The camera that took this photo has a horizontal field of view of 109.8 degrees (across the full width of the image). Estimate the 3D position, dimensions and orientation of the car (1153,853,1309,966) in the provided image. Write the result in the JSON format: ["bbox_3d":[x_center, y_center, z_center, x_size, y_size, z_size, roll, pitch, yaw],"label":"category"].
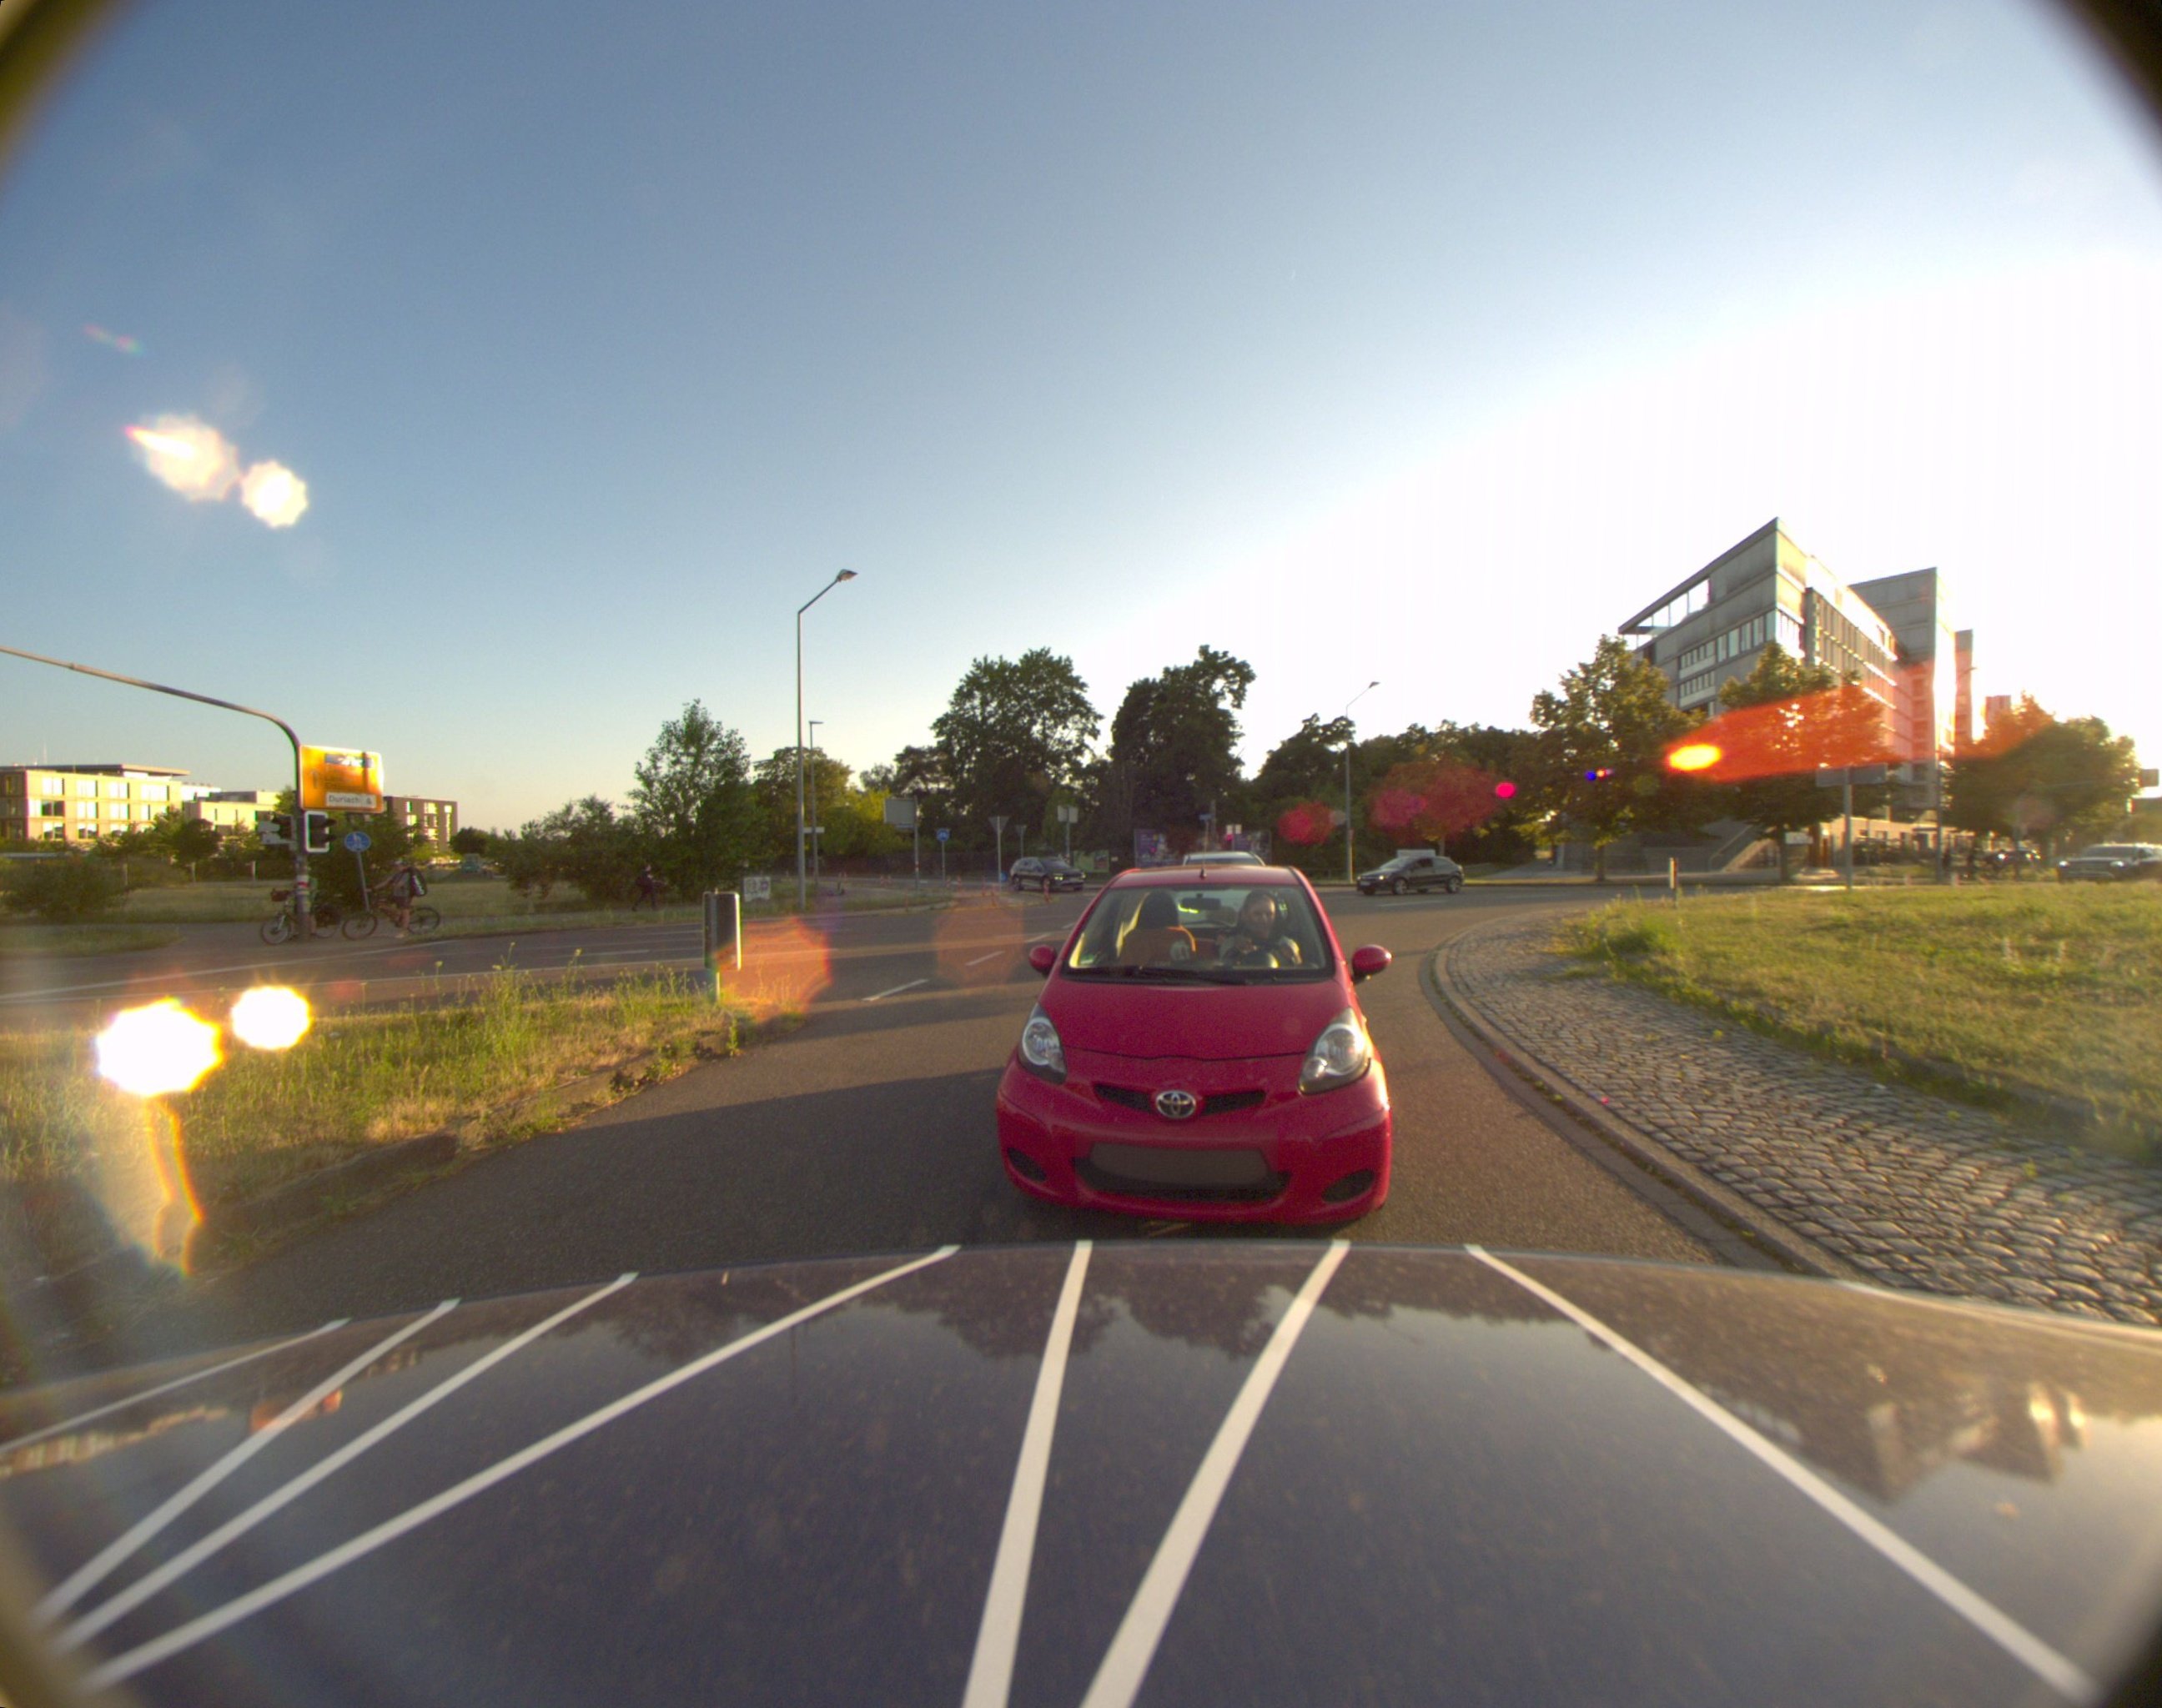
[{"bbox_3d":[2.360,0.799,13.064,1.998,1.597,4.199,-1,0,3],"label":"car"}]

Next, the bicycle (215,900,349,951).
[{"bbox_3d":[-19.273,1.697,18.396,0.708,0.958,2.109,-1,2,14],"label":"bicycle"}]

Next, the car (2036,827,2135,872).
[{"bbox_3d":[43.314,-0.156,32.748,5.315,1.801,1.996,0,-1,-31],"label":"car"}]

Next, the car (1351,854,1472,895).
[{"bbox_3d":[12.262,0.725,28.207,4.130,1.371,1.748,-1,0,-23],"label":"car"}]

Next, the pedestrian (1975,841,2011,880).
[{"bbox_3d":[49.279,0.345,41.065,0.776,2.002,0.998,-2,1,-11],"label":"pedestrian"}]

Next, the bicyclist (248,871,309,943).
[{"bbox_3d":[-19.332,1.256,18.309,0.724,1.680,0.690,-1,1,12],"label":"bicyclist"}]

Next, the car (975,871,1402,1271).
[{"bbox_3d":[0.808,0.883,5.016,1.687,1.412,4.003,-1,0,12],"label":"car"}]

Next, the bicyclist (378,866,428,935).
[{"bbox_3d":[-17.147,1.164,19.217,0.723,1.680,0.690,-1,1,28],"label":"bicyclist"}]

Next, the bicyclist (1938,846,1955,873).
[{"bbox_3d":[46.975,0.310,41.256,0.693,1.432,0.610,-2,1,-42],"label":"bicyclist"}]

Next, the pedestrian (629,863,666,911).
[{"bbox_3d":[-14.894,1.117,26.098,0.993,1.581,0.924,-1,1,-33],"label":"pedestrian"}]

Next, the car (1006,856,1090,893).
[{"bbox_3d":[-1.647,0.914,36.032,2.003,1.588,4.303,-1,0,-34],"label":"car"}]

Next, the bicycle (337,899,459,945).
[{"bbox_3d":[-17.162,1.678,19.157,0.708,0.957,2.149,-1,0,26],"label":"bicycle"}]

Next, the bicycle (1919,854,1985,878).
[{"bbox_3d":[47.088,0.630,41.115,0.744,1.237,2.341,-2,1,-41],"label":"bicycle"}]
